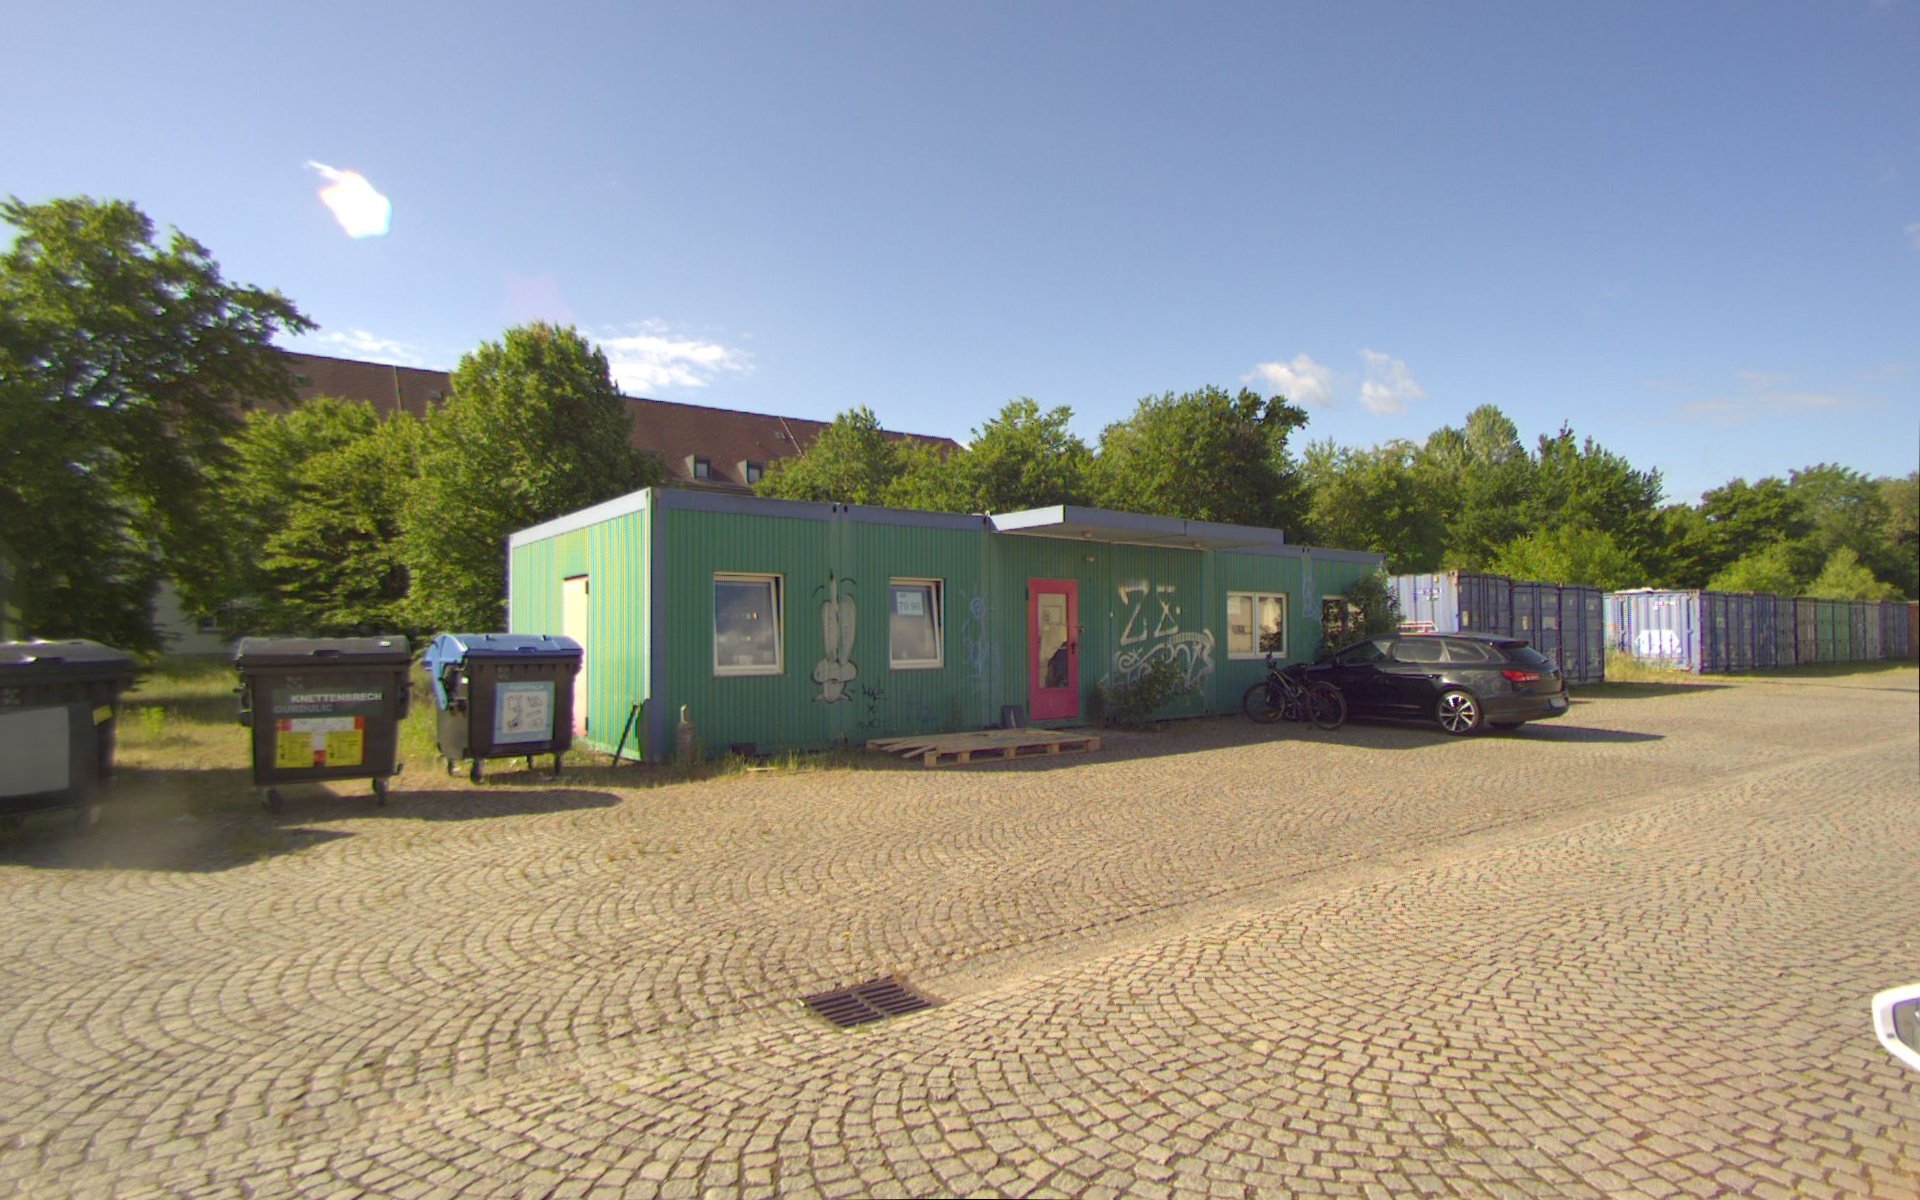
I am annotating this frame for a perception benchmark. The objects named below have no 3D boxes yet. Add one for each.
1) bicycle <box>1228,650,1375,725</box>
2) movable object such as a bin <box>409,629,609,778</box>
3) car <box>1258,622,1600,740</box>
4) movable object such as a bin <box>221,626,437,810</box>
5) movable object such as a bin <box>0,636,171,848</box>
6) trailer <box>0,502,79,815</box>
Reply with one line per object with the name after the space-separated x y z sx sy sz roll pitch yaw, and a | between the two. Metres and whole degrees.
5.158 1.290 15.279 1.029 1.041 1.861 1 -2 -37 | bicycle
-4.741 1.020 10.584 1.367 1.404 1.527 -2 -3 43 | movable object such as a bin
7.027 1.110 15.444 1.982 1.484 4.380 1 -1 -38 | car
-5.559 0.966 8.899 1.520 1.441 1.288 1 -2 -34 | movable object such as a bin
-6.965 0.967 7.201 1.358 1.404 1.537 -1 -2 11 | movable object such as a bin
-9.495 0.517 9.030 2.077 2.385 4.921 1 -2 -38 | trailer
